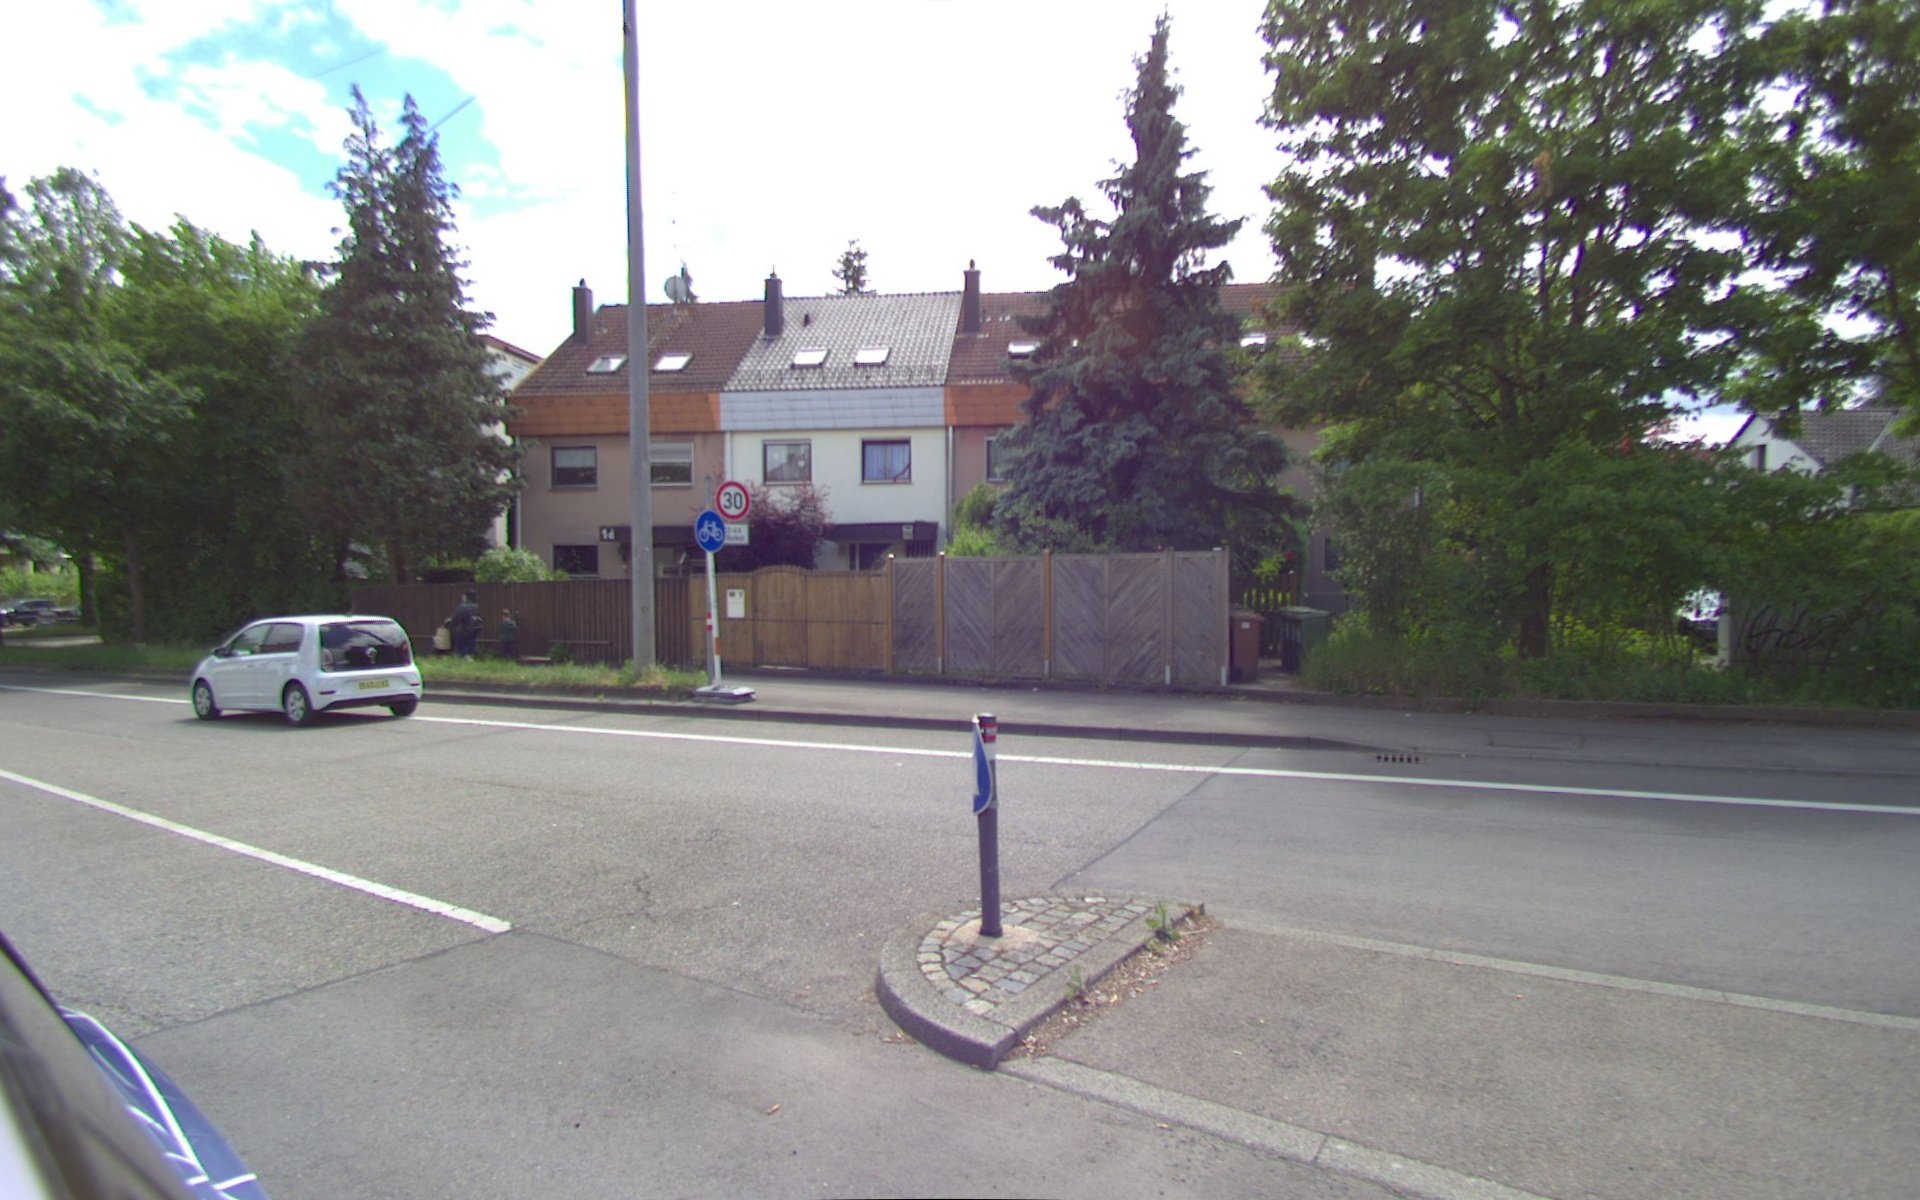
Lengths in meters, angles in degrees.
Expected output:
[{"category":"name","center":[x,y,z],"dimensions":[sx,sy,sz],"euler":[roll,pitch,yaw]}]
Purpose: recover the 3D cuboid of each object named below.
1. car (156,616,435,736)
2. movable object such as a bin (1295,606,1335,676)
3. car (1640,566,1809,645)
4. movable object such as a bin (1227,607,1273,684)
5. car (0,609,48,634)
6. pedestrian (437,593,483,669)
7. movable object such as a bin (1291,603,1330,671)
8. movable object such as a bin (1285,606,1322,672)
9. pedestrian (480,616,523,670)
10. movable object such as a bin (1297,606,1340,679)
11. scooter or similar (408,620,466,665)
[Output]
[{"category":"car","center":[-9.692,1.013,14.729],"dimensions":[3.980,1.524,1.683],"euler":[-1,0,27]},{"category":"movable object such as a bin","center":[5.079,0.586,14.495],"dimensions":[0.521,0.985,0.332],"euler":[-1,0,18]},{"category":"car","center":[16.468,0.120,22.046],"dimensions":[1.877,1.545,3.972],"euler":[-1,0,21]},{"category":"movable object such as a bin","center":[3.946,0.610,13.769],"dimensions":[0.493,1.018,0.472],"euler":[-1,0,31]},{"category":"car","center":[-60.904,1.381,64.364],"dimensions":[1.977,1.519,3.991],"euler":[-1,1,8]},{"category":"pedestrian","center":[-10.061,0.613,20.370],"dimensions":[0.640,1.492,0.550],"euler":[-1,1,34]},{"category":"movable object such as a bin","center":[5.147,0.537,14.885],"dimensions":[0.521,0.985,0.376],"euler":[-1,0,18]},{"category":"movable object such as a bin","center":[5.195,0.587,15.319],"dimensions":[0.521,0.985,0.376],"euler":[-1,0,18]},{"category":"pedestrian","center":[-9.601,0.890,21.187],"dimensions":[0.640,1.094,0.550],"euler":[-1,1,34]},{"category":"movable object such as a bin","center":[4.998,0.586,14.132],"dimensions":[0.543,0.985,0.370],"euler":[-1,0,18]},{"category":"scooter or similar","center":[-10.764,0.859,20.825],"dimensions":[1.028,0.871,0.631],"euler":[-1,1,34]}]
